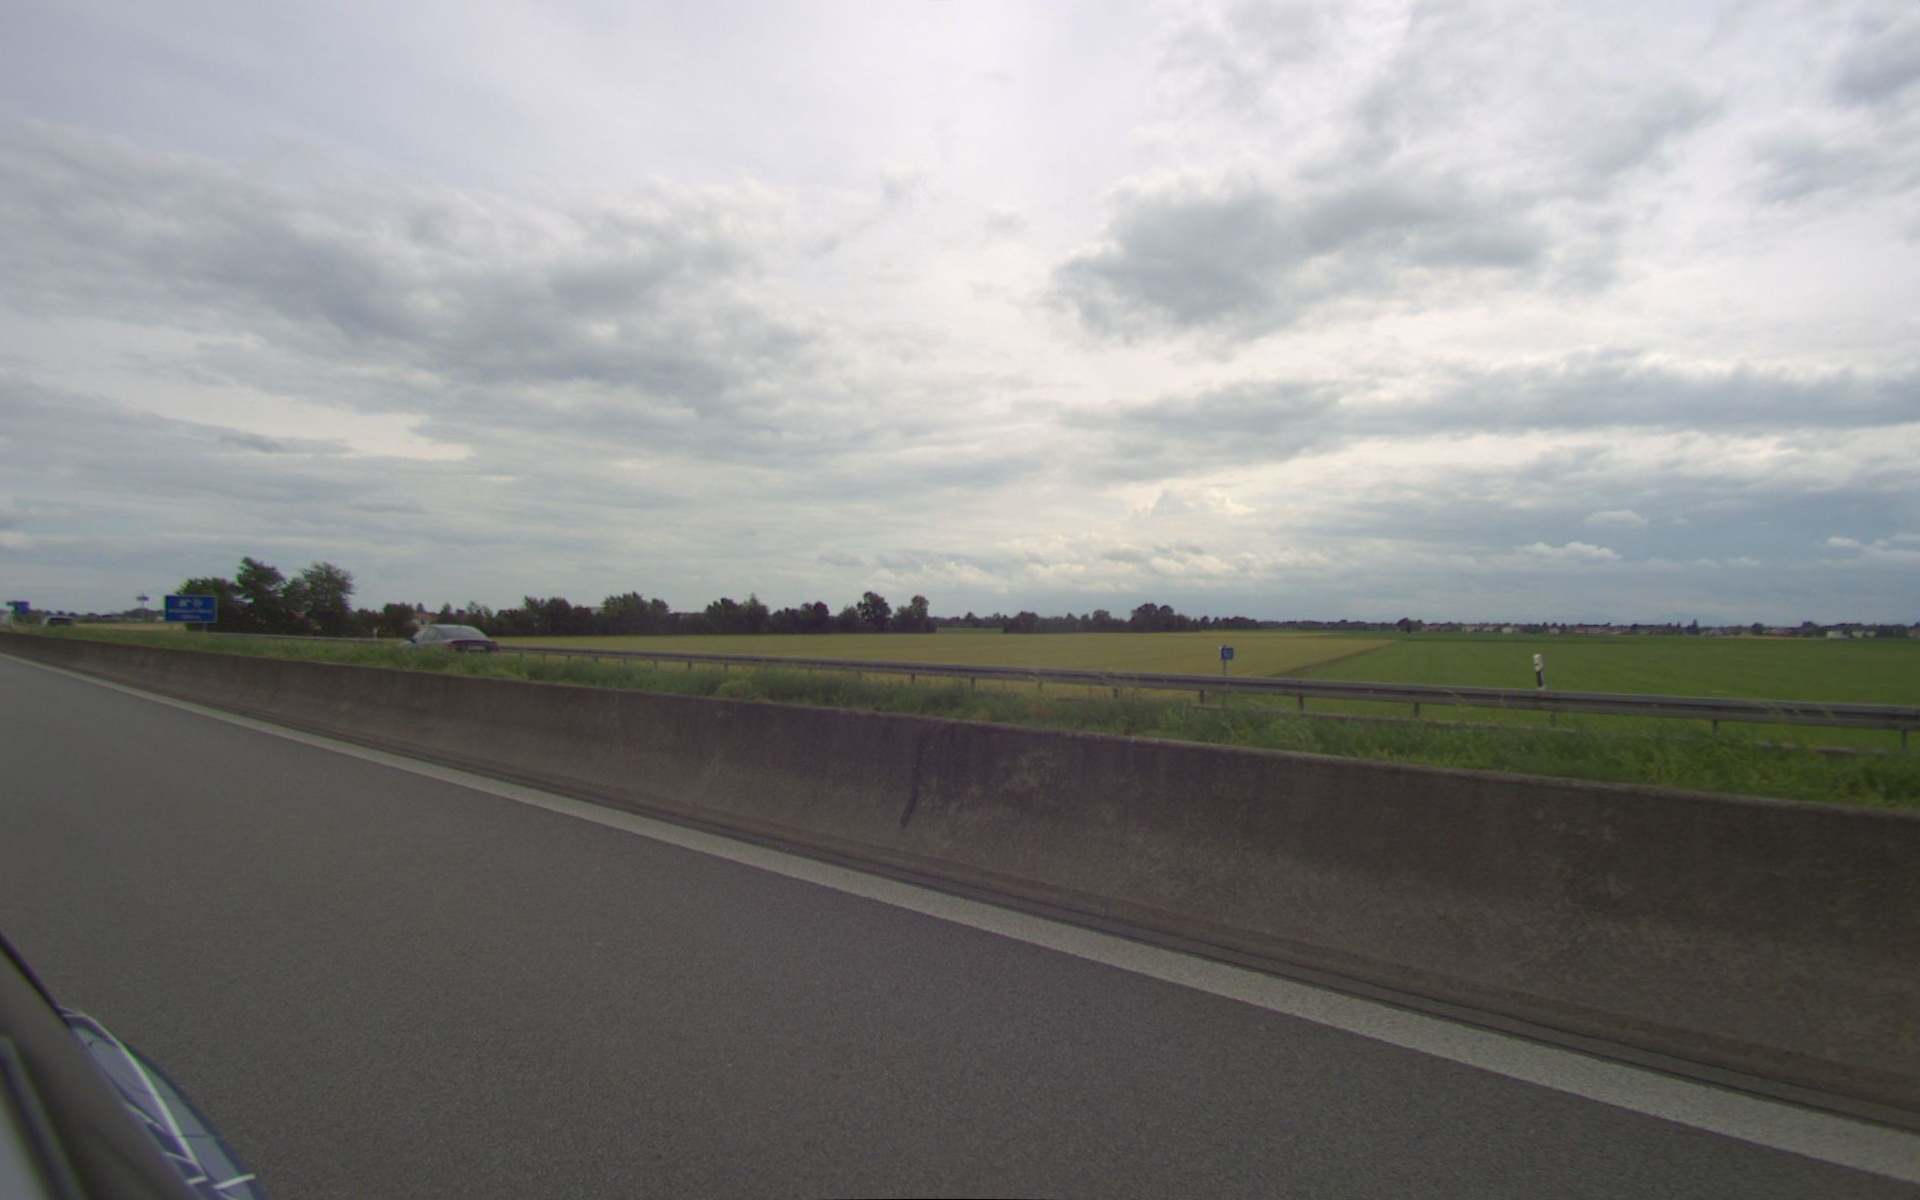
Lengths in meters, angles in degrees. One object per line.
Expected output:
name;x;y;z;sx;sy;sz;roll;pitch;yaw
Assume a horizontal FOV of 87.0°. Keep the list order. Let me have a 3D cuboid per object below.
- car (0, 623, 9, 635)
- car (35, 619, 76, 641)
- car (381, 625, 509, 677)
car;-163.197;4.915;171.982;4.907;2.125;2.008;-1;-2;45
car;-63.050;2.096;70.513;4.182;1.503;1.671;-1;-2;41
car;-15.796;1.531;30.929;4.903;1.483;1.770;-1;-4;41
